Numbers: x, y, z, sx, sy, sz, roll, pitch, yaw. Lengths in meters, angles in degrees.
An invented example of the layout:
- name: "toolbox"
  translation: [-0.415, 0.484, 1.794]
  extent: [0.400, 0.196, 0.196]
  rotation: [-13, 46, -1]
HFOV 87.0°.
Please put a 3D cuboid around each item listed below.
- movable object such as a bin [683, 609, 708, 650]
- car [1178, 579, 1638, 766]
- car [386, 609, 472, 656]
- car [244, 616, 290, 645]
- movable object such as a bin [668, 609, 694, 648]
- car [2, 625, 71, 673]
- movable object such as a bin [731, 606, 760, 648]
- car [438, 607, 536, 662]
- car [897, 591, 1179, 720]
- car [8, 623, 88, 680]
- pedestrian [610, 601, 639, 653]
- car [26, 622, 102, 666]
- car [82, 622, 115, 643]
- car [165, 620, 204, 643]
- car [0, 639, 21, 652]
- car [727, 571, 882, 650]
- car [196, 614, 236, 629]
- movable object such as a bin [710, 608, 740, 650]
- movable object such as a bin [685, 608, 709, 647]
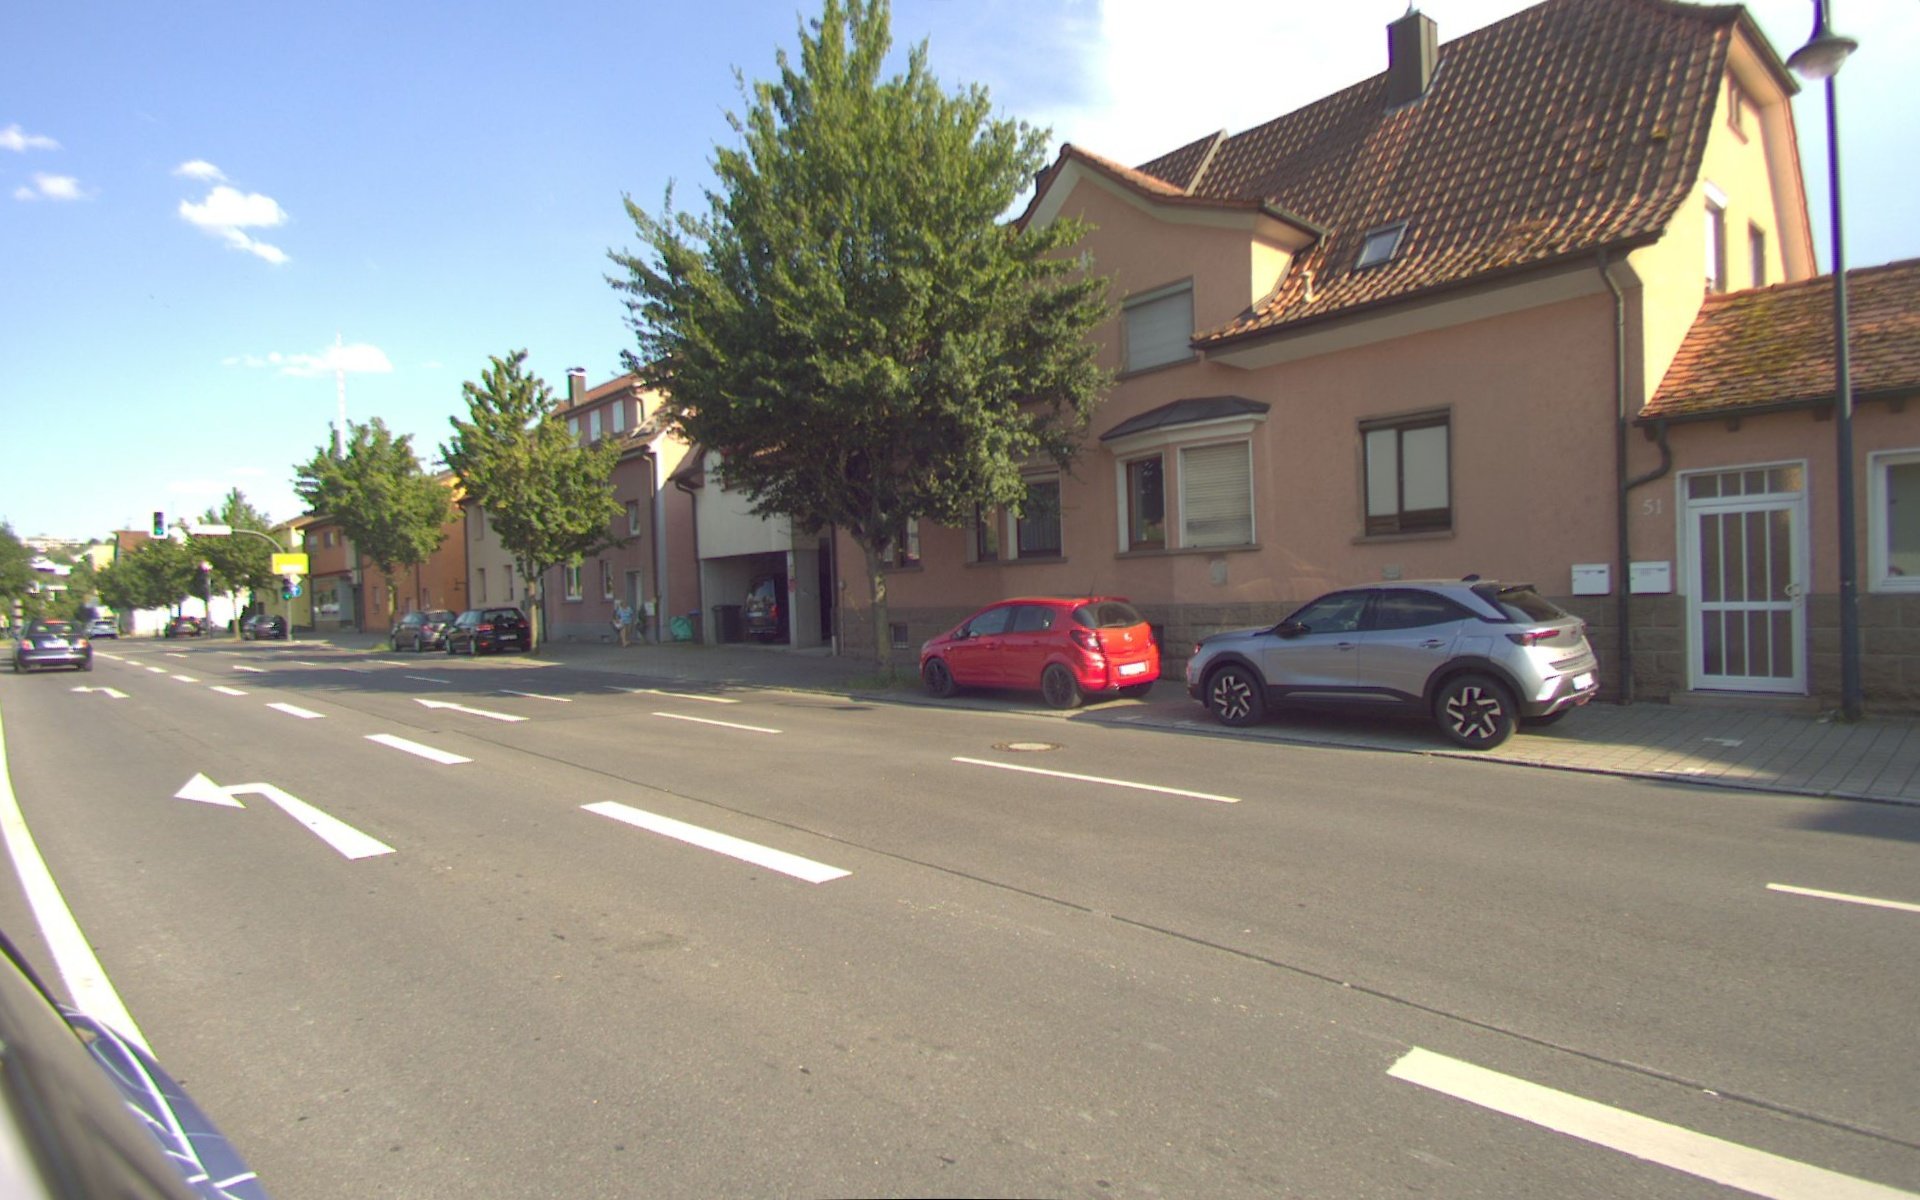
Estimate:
- name: "movable object such as a bin"
  translation: [-7.519, 0.844, 28.775]
  extent: [0.501, 1.146, 0.470]
  rotation: [-2, -1, 44]
- name: "car"
  translation: [4.492, 0.652, 10.624]
  extent: [1.734, 1.490, 4.006]
  rotation: [-5, 2, -41]
- name: "car"
  translation: [-19.082, 1.177, 36.313]
  extent: [3.886, 1.522, 1.495]
  rotation: [-2, 1, 44]
- name: "car"
  translation: [-39.698, 1.740, 57.956]
  extent: [1.573, 1.449, 3.779]
  rotation: [-7, 3, -42]
- name: "movable object such as a bin"
  translation: [-8.419, 0.849, 30.486]
  extent: [0.544, 1.151, 0.530]
  rotation: [-1, -1, -43]
- name: "car"
  translation: [-30.623, 1.594, 33.522]
  extent: [1.571, 1.438, 3.580]
  rotation: [-1, -1, -44]
- name: "movable object such as a bin"
  translation: [-6.132, 0.767, 28.892]
  extent: [0.575, 1.151, 0.560]
  rotation: [-2, -1, 39]
- name: "car"
  translation: [-15.021, 1.073, 32.042]
  extent: [1.646, 1.543, 3.907]
  rotation: [-5, 2, -42]
- name: "car"
  translation: [0.996, 0.721, 14.618]
  extent: [1.645, 1.498, 4.006]
  rotation: [-5, 2, -41]
- name: "car"
  translation: [-25.871, 1.424, 28.670]
  extent: [1.514, 1.473, 3.508]
  rotation: [-1, -1, -45]
- name: "pedestrian"
  translation: [-10.750, 0.847, 32.433]
  extent: [0.765, 1.619, 0.725]
  rotation: [-1, -1, -27]
- name: "car"
  translation: [-34.112, 1.653, 38.479]
  extent: [4.567, 1.500, 1.814]
  rotation: [-2, -1, 44]
- name: "car"
  translation: [-72.599, 2.748, 85.286]
  extent: [4.414, 1.624, 1.667]
  rotation: [-2, 0, 44]
- name: "car"
  translation: [-58.026, 2.384, 75.674]
  extent: [1.833, 1.607, 4.464]
  rotation: [-1, -1, -44]
- name: "car"
  translation: [-117.165, 5.610, 124.819]
  extent: [4.001, 1.422, 1.738]
  rotation: [-2, -1, 44]
- name: "car"
  translation: [-4.210, 0.246, 27.725]
  extent: [3.777, 1.895, 1.780]
  rotation: [-4, 2, -44]
- name: "car"
  translation: [-80.776, 2.348, 109.923]
  extent: [1.601, 1.555, 3.426]
  rotation: [-2, -1, 5]
- name: "movable object such as a bin"
  translation: [-6.560, 0.804, 28.254]
  extent: [0.575, 1.151, 0.560]
  rotation: [-2, -1, 39]
- name: "movable object such as a bin"
  translation: [-8.019, 0.829, 30.852]
  extent: [0.498, 1.151, 0.530]
  rotation: [-1, -1, -43]
